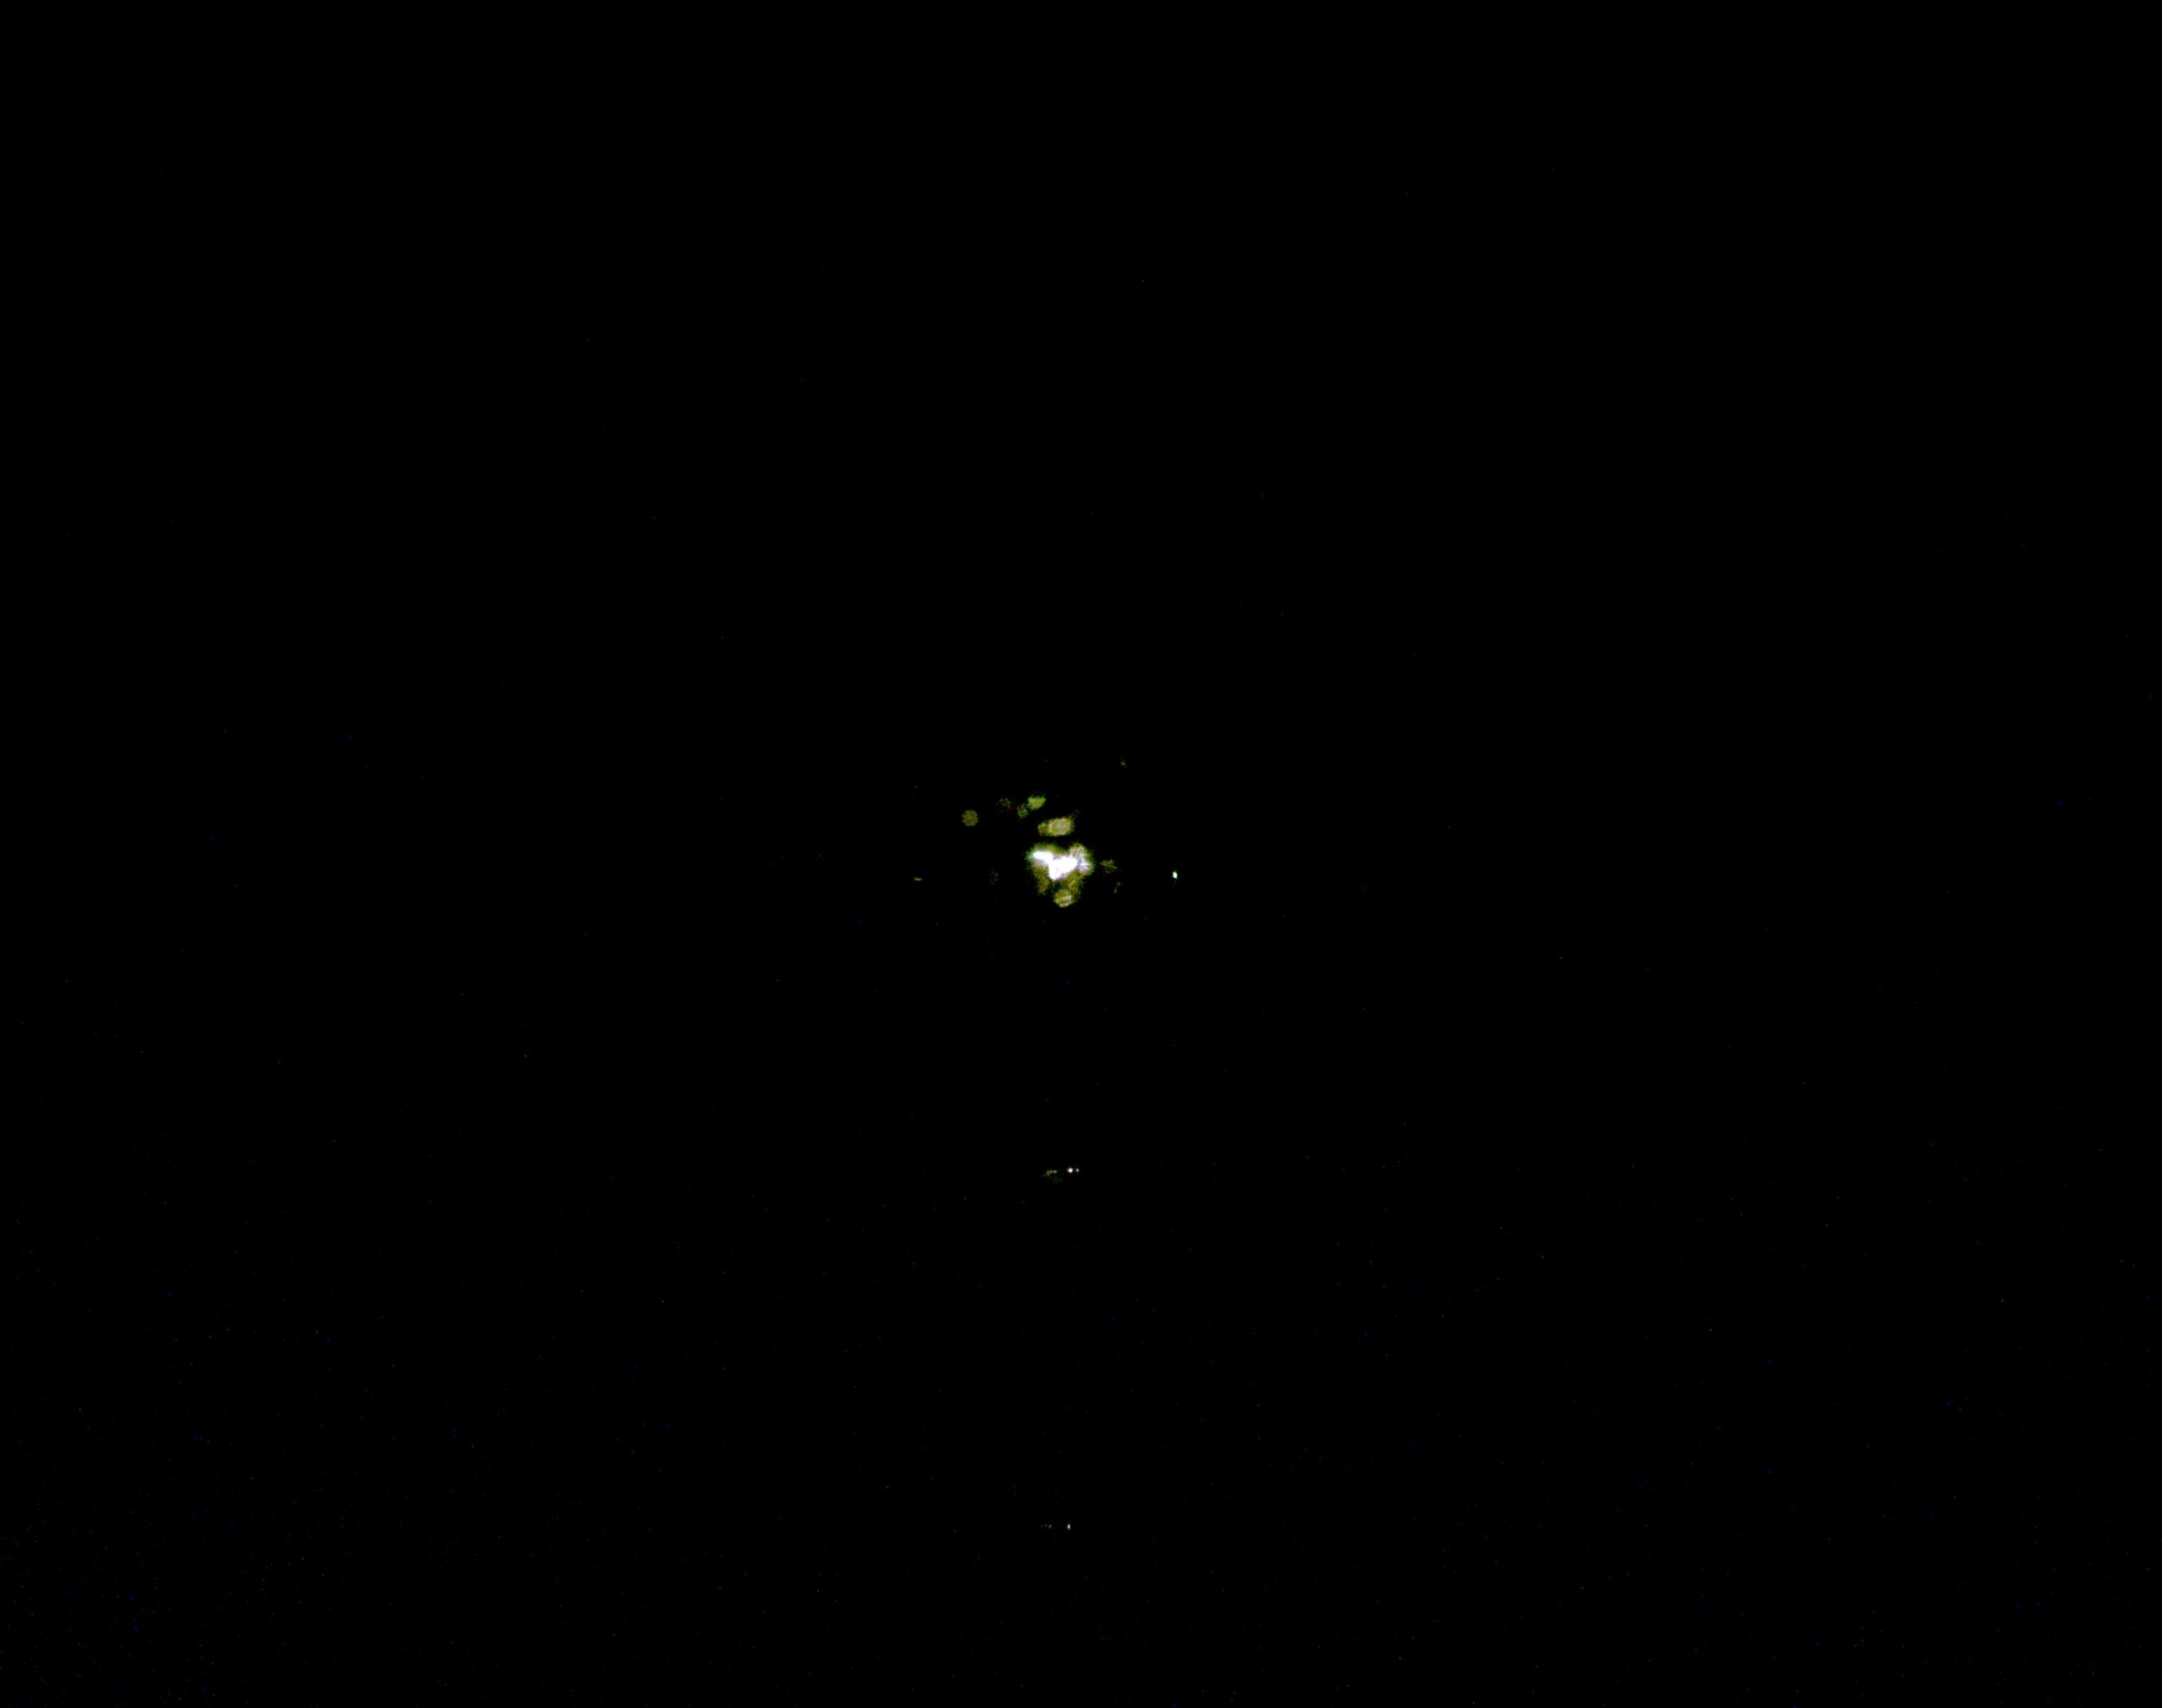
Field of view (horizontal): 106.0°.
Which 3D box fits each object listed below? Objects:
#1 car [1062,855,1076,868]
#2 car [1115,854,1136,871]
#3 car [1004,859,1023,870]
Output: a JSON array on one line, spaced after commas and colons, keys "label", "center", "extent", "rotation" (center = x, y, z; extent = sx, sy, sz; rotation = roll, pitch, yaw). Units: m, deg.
[{"label": "car", "center": [-1.772, 1.147, 125.287], "extent": [1.986, 2.013, 4.001], "rotation": [0, 0, 1]}, {"label": "car", "center": [4.390, 0.823, 80.735], "extent": [1.985, 1.618, 4.003], "rotation": [-1, 0, 3]}, {"label": "car", "center": [-9.260, 1.390, 112.010], "extent": [1.986, 1.448, 4.431], "rotation": [0, 0, 2]}]
